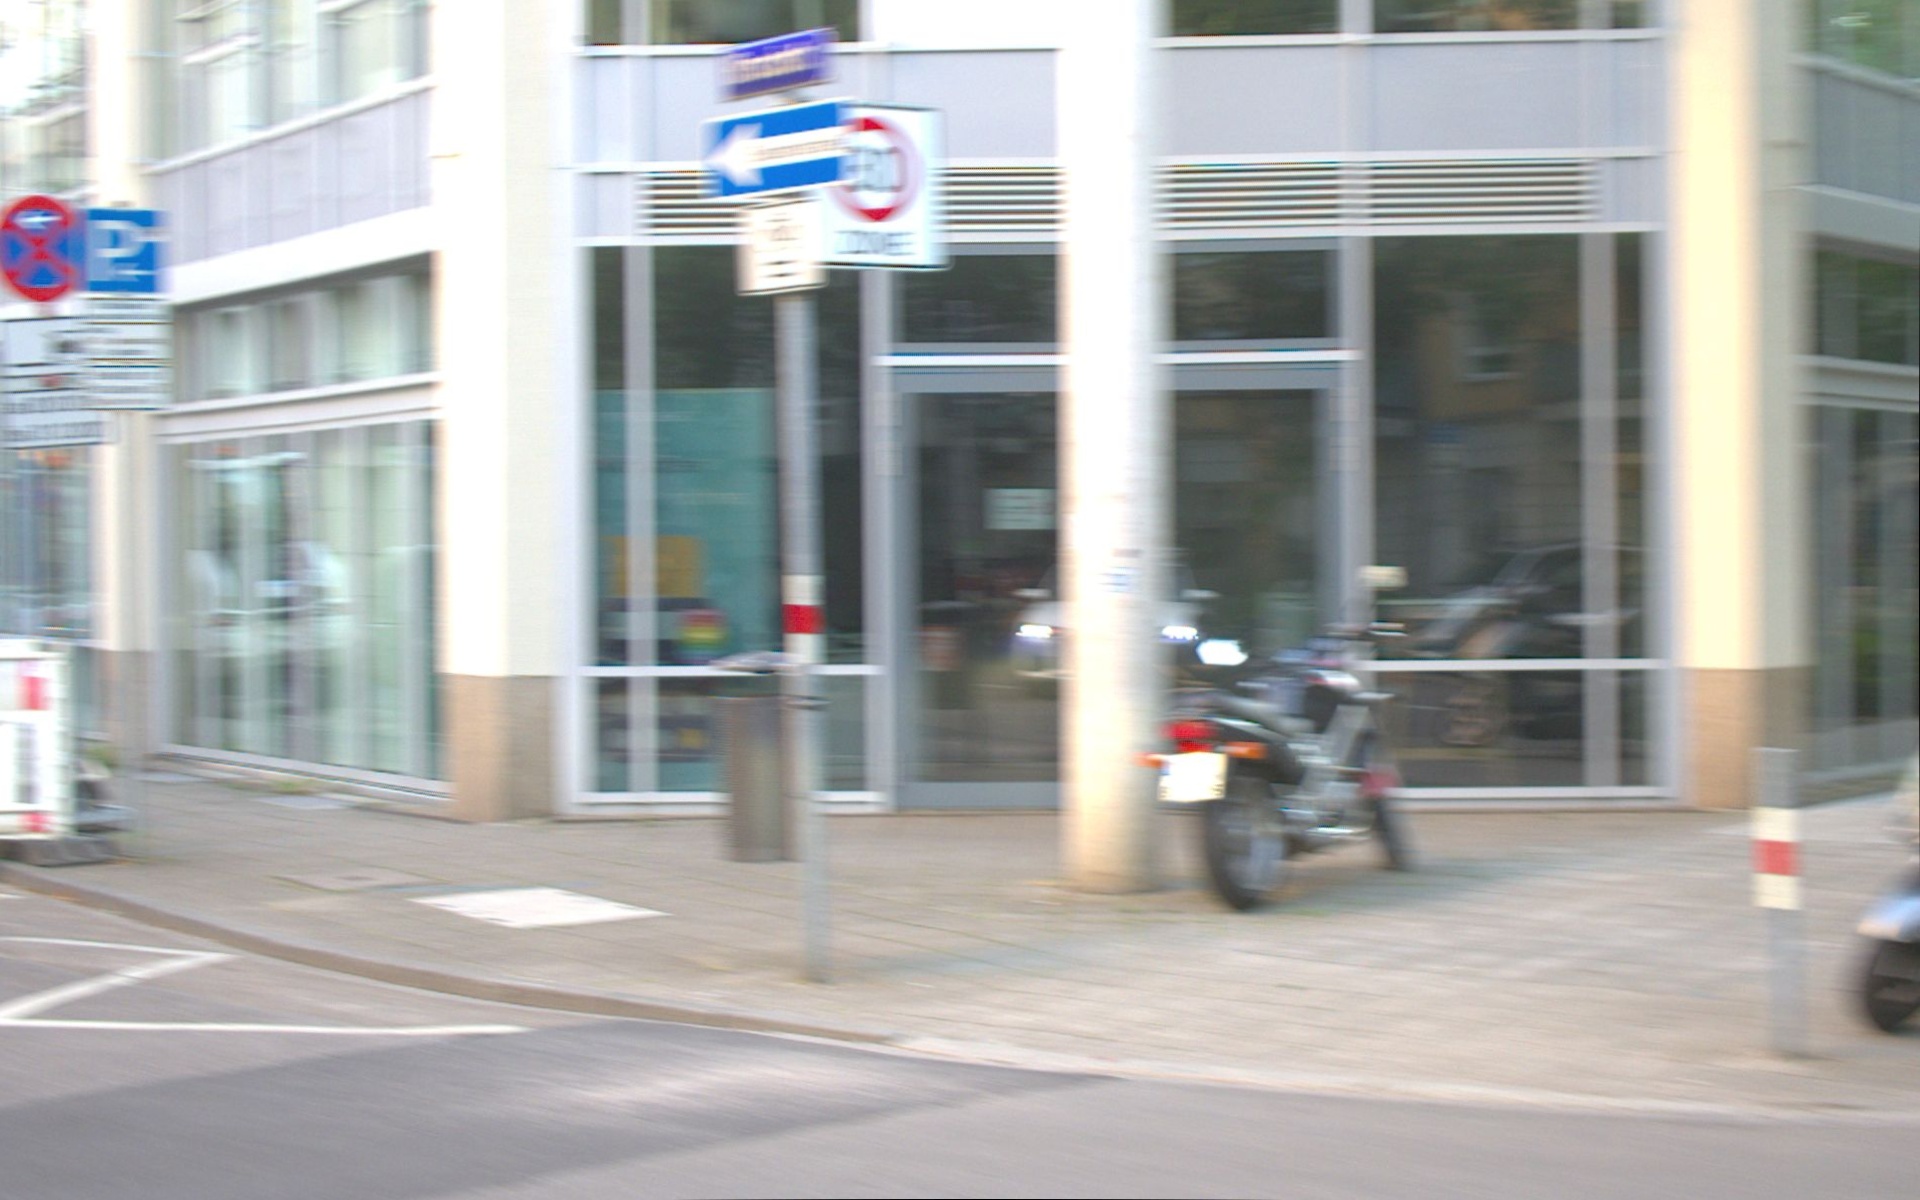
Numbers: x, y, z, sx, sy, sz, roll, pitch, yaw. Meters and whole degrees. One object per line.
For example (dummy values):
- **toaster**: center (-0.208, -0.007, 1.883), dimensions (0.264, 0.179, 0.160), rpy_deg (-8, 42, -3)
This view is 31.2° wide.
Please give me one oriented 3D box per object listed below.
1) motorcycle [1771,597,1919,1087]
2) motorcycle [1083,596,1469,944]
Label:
- **motorcycle**: center (3.802, 0.715, 10.662), dimensions (2.371, 1.436, 0.802), rpy_deg (0, 1, -3)
- **motorcycle**: center (1.360, 0.656, 14.350), dimensions (0.615, 1.269, 2.122), rpy_deg (1, 2, 35)
